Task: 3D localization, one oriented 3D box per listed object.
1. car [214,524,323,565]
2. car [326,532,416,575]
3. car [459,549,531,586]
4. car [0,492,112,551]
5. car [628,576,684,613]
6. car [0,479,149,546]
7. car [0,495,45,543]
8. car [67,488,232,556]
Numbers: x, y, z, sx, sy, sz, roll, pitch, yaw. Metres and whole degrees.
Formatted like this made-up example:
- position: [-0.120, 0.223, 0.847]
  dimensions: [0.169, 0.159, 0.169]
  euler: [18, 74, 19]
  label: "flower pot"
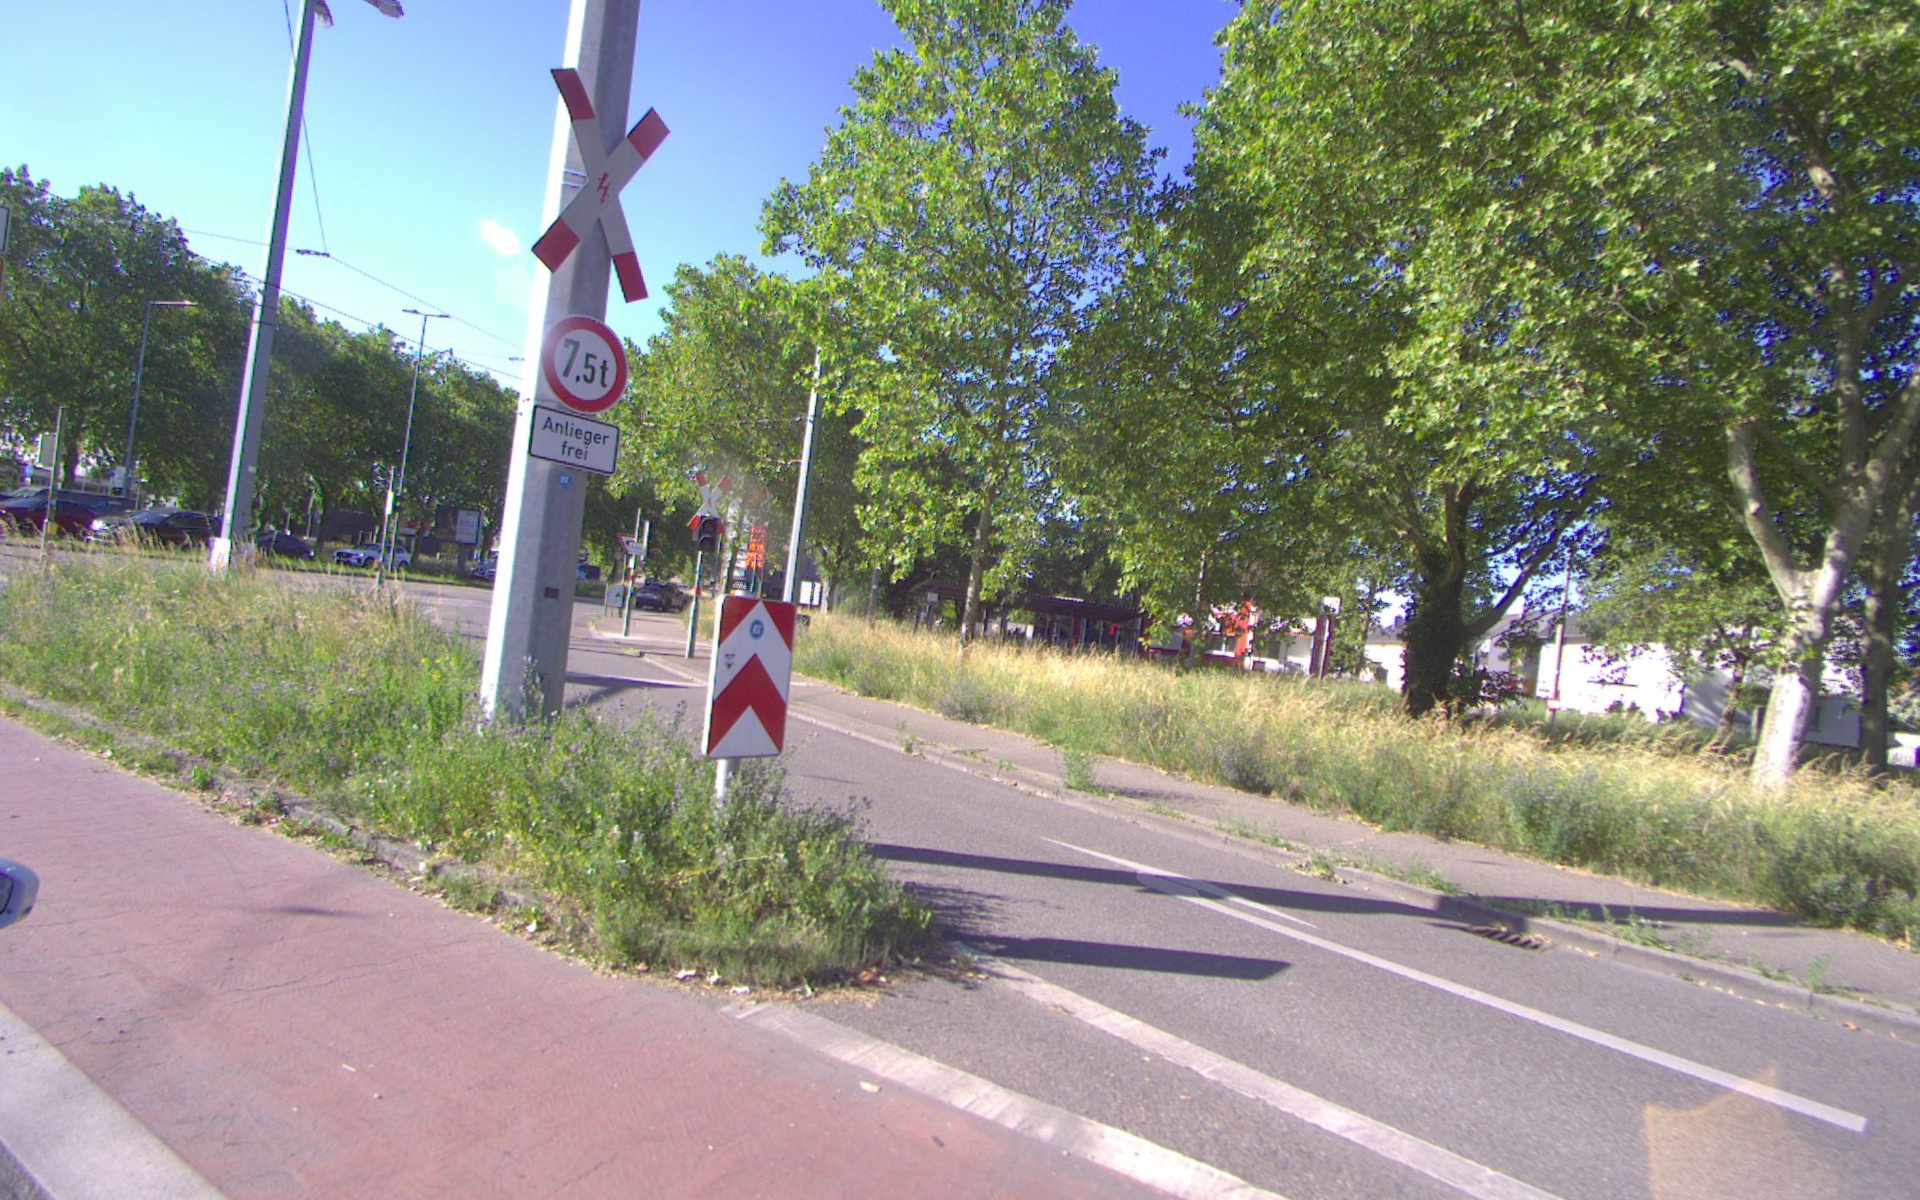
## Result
- position: [-34.180, -2.724, 49.917]
  dimensions: [1.898, 1.424, 4.573]
  euler: [7, -1, 4]
  label: "car"
- position: [-33.222, -2.578, 56.948]
  dimensions: [1.873, 1.701, 4.782]
  euler: [7, -3, 4]
  label: "car"
- position: [-26.672, -1.834, 57.838]
  dimensions: [1.962, 1.637, 4.002]
  euler: [6, -1, 4]
  label: "car"
- position: [-32.256, -2.775, 34.906]
  dimensions: [1.782, 1.619, 4.093]
  euler: [7, -1, 7]
  label: "car"
- position: [-17.525, -0.296, 58.152]
  dimensions: [1.793, 1.724, 3.776]
  euler: [8, -2, 2]
  label: "car"
- position: [-39.473, -3.832, 44.487]
  dimensions: [2.095, 2.094, 5.112]
  euler: [7, -1, 32]
  label: "car"
- position: [-36.028, -3.156, 36.594]
  dimensions: [1.681, 1.619, 3.862]
  euler: [7, -1, 3]
  label: "car"
- position: [-28.640, -2.714, 35.757]
  dimensions: [1.885, 1.732, 4.497]
  euler: [7, -1, 4]
  label: "car"
